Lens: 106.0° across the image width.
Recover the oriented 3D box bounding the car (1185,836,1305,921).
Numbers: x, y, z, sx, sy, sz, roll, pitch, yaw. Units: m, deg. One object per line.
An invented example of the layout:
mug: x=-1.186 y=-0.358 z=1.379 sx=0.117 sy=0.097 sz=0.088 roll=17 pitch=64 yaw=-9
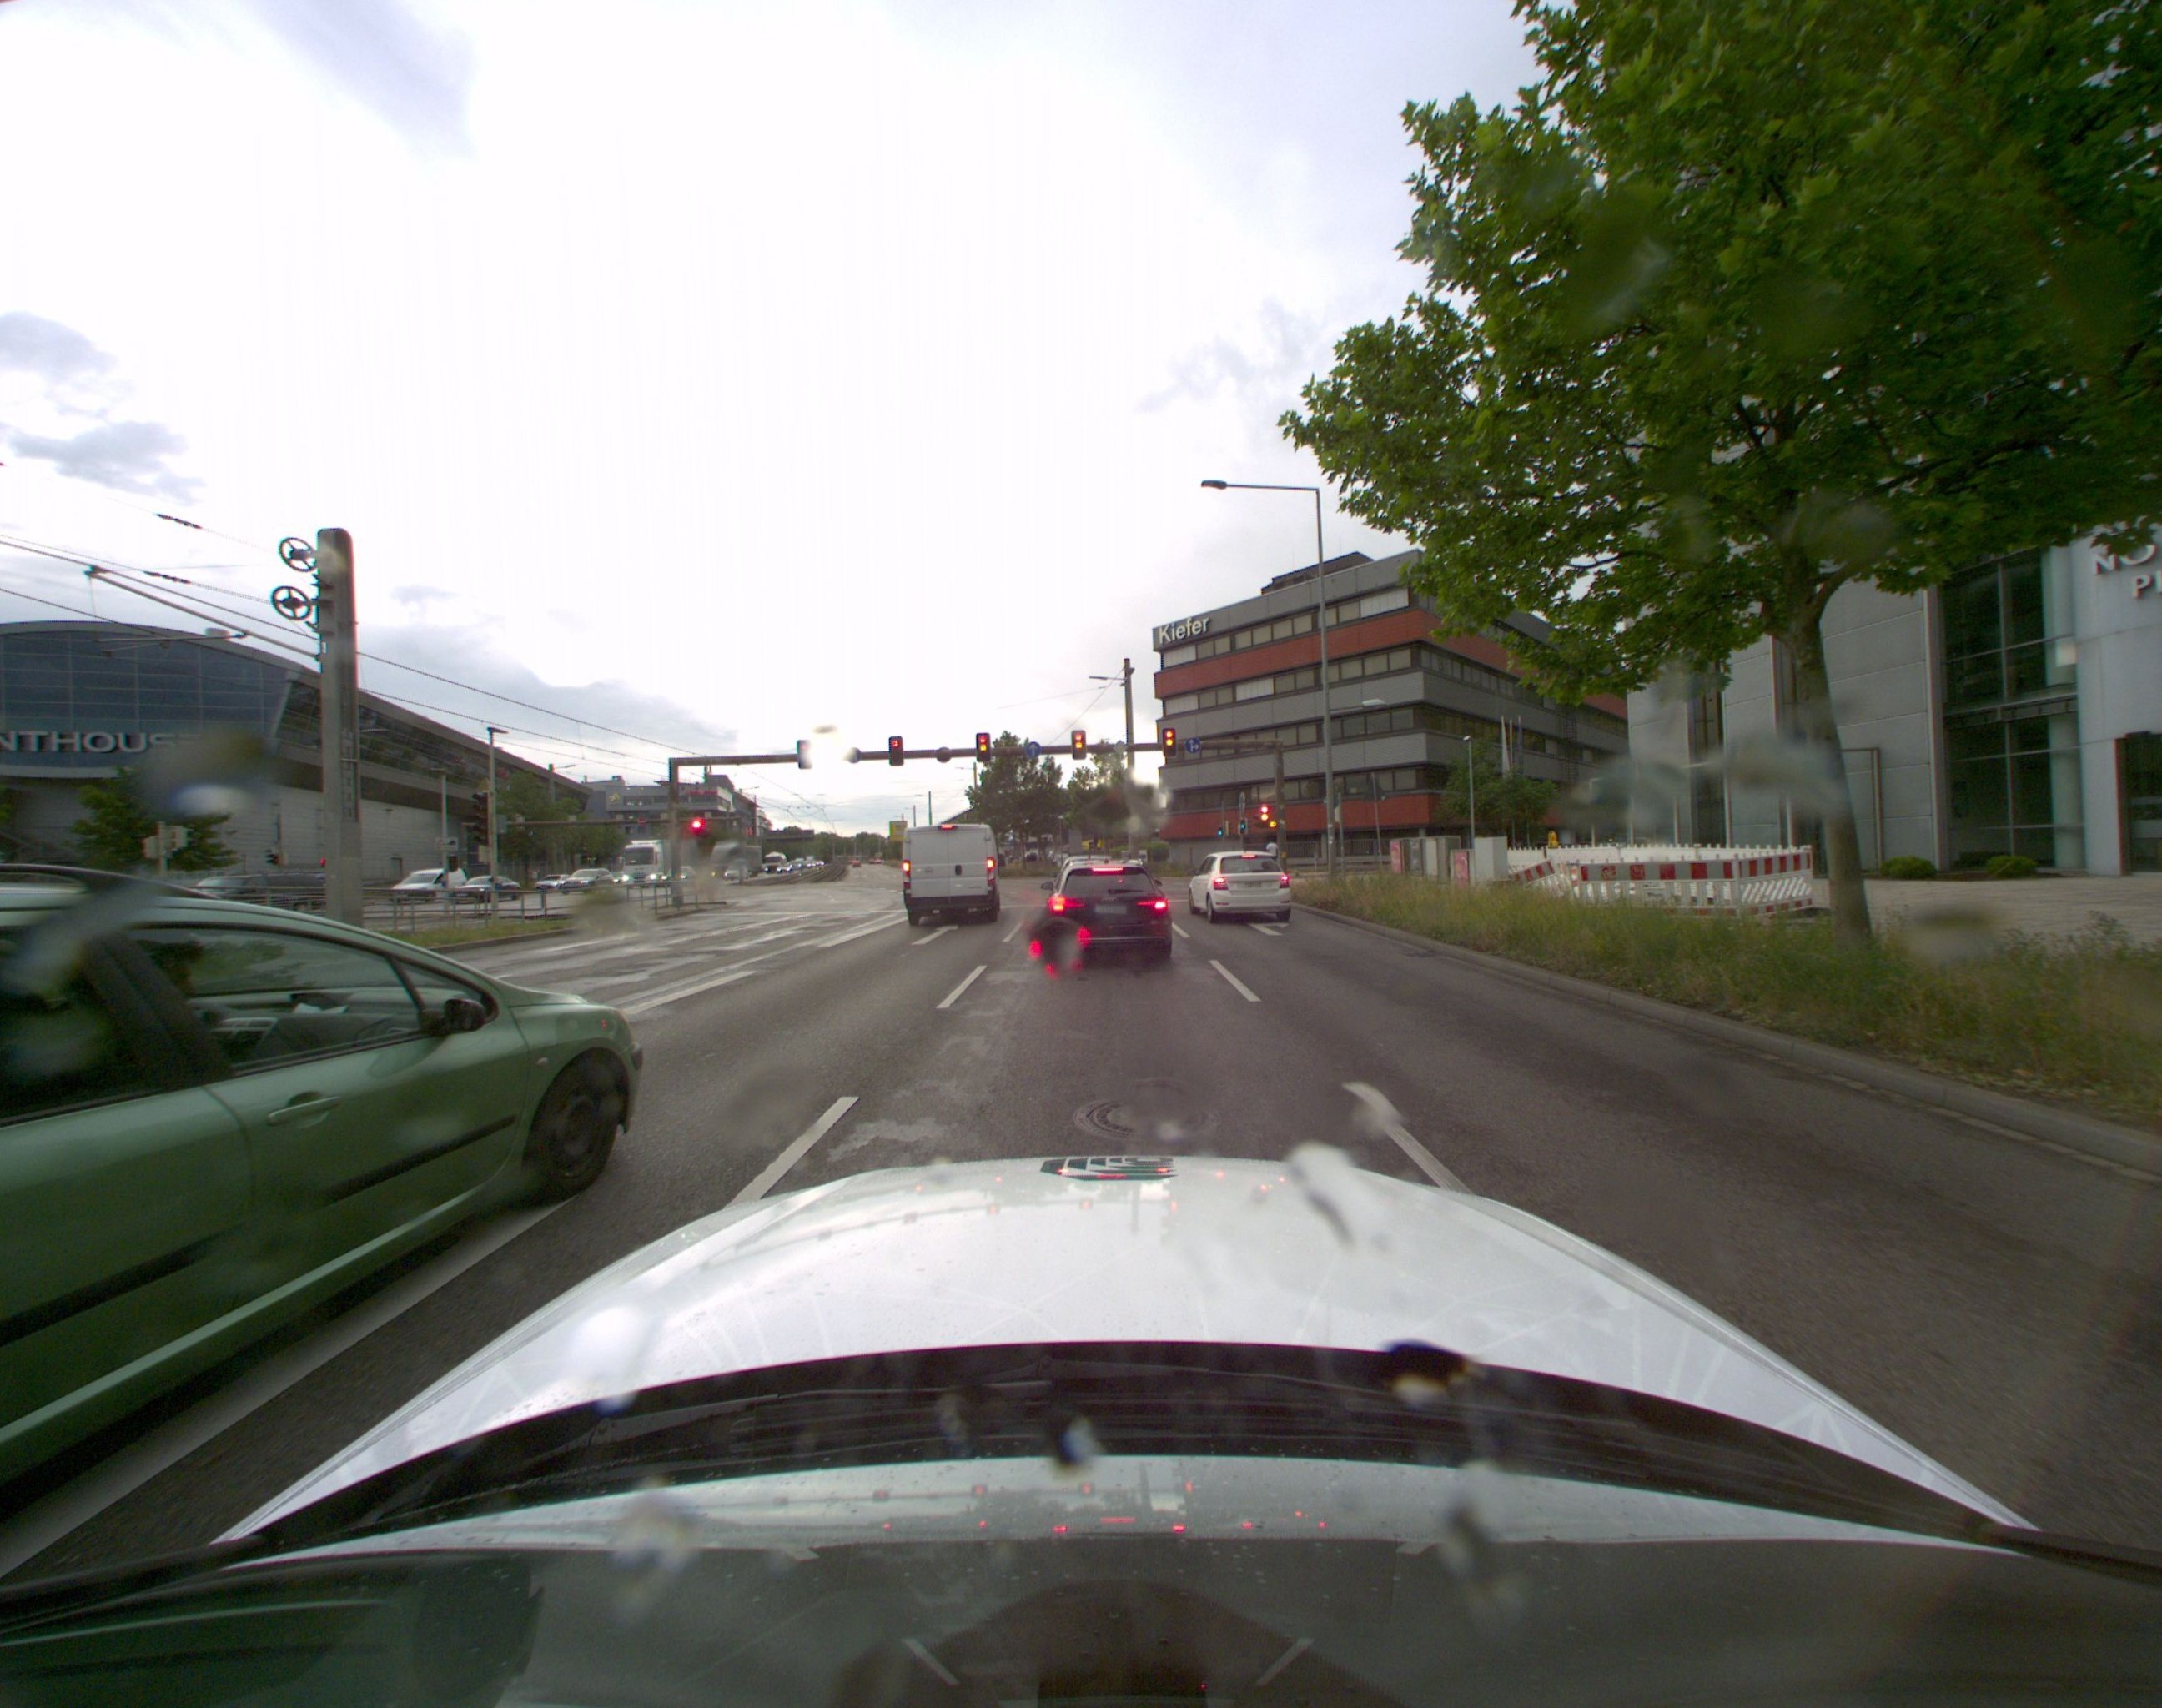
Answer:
car: x=3.493 y=0.519 z=18.049 sx=1.823 sy=1.656 sz=3.999 roll=-1 pitch=-1 yaw=0

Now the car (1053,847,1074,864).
car: x=-2.309 y=0.191 z=106.259 sx=1.995 sy=2.032 sz=3.983 roll=-3 pitch=0 yaw=-12

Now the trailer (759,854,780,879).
trailer: x=-52.603 y=2.133 z=137.433 sx=2.736 sy=3.854 sz=11.142 roll=-3 pitch=-1 yaw=-23

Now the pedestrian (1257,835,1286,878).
pedestrian: x=9.706 y=0.118 z=41.496 sx=1.139 sy=2.125 sz=1.222 roll=-3 pitch=1 yaw=1

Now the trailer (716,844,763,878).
trailer: x=-44.728 y=0.970 z=107.064 sx=2.649 sy=4.125 sz=12.704 roll=-2 pitch=-1 yaw=-9

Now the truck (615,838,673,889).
truck: x=-36.705 y=0.765 z=68.619 sx=2.836 sy=3.996 sz=5.958 roll=-2 pitch=0 yaw=-14

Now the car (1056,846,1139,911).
car: x=0.485 y=0.597 z=20.874 sx=1.886 sy=1.465 sz=3.912 roll=-2 pitch=-1 yaw=3

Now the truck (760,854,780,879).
truck: x=-50.739 y=2.021 z=132.755 sx=2.758 sy=3.805 sz=5.370 roll=-3 pitch=-1 yaw=-23

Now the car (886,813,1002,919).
car: x=-3.197 y=0.312 z=20.118 sx=2.442 sy=2.294 sz=4.894 roll=0 pitch=-1 yaw=-6

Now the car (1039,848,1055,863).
car: x=-4.832 y=0.238 z=115.264 sx=1.682 sy=2.014 sz=3.524 roll=1 pitch=-1 yaw=-15

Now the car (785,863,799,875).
car: x=-49.445 y=2.603 z=139.285 sx=1.998 sy=1.837 sz=4.882 roll=2 pitch=1 yaw=-16

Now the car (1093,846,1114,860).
car: x=3.293 y=-0.115 z=118.377 sx=1.876 sy=2.014 sz=3.748 roll=1 pitch=-1 yaw=-20

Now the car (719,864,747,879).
car: x=-37.757 y=1.906 z=88.536 sx=1.887 sy=1.652 sz=4.081 roll=0 pitch=-1 yaw=-10

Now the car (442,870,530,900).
car: x=-31.395 y=1.586 z=43.124 sx=1.783 sy=1.503 sz=3.995 roll=0 pitch=-1 yaw=-3

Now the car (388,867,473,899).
car: x=-35.379 y=1.550 z=44.412 sx=1.569 sy=1.627 sz=4.075 roll=0 pitch=-1 yaw=-5

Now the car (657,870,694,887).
car: x=-32.467 y=1.948 z=65.291 sx=1.912 sy=1.264 sz=4.389 roll=1 pitch=0 yaw=-17

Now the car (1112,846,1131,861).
car: x=5.451 y=-0.080 z=109.939 sx=1.678 sy=2.014 sz=3.120 roll=1 pitch=-1 yaw=-16

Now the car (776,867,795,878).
car: x=-44.128 y=2.702 z=121.805 sx=1.904 sy=1.555 sz=4.548 roll=0 pitch=-1 yaw=-11

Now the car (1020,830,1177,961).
car: x=0.271 y=0.575 z=12.534 sx=1.986 sy=1.637 sz=4.001 roll=-2 pitch=-1 yaw=1

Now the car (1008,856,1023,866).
car: x=-11.115 y=1.164 z=137.630 sx=1.796 sy=1.591 sz=3.977 roll=-2 pitch=0 yaw=-17

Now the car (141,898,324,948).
car: x=-30.533 y=2.437 z=29.582 sx=1.674 sy=1.498 sz=4.924 roll=0 pitch=-1 yaw=-4

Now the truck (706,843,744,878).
truck: x=-43.600 y=0.833 z=99.881 sx=2.666 sy=4.130 sz=6.166 roll=-2 pitch=-1 yaw=-9

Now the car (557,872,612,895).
car: x=-32.635 y=1.908 z=53.681 sx=1.740 sy=1.462 sz=4.136 roll=0 pitch=-1 yaw=-11

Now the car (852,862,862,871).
car: x=-49.035 y=2.800 z=178.370 sx=1.775 sy=2.014 sz=4.326 roll=1 pitch=-1 yaw=-14

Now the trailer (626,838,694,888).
trailer: x=-38.052 y=0.799 z=74.075 sx=2.799 sy=4.107 sz=11.386 roll=-2 pitch=0 yaw=-14

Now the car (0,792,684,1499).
car: x=-3.076 y=0.612 z=2.274 sx=1.689 sy=1.468 sz=4.403 roll=0 pitch=-1 yaw=1

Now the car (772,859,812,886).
car: x=-22.881 y=1.431 z=64.586 sx=1.768 sy=2.013 sz=4.344 roll=0 pitch=0 yaw=-2

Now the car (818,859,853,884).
car: x=-20.997 y=1.448 z=69.763 sx=1.768 sy=2.013 sz=4.344 roll=0 pitch=0 yaw=-2
